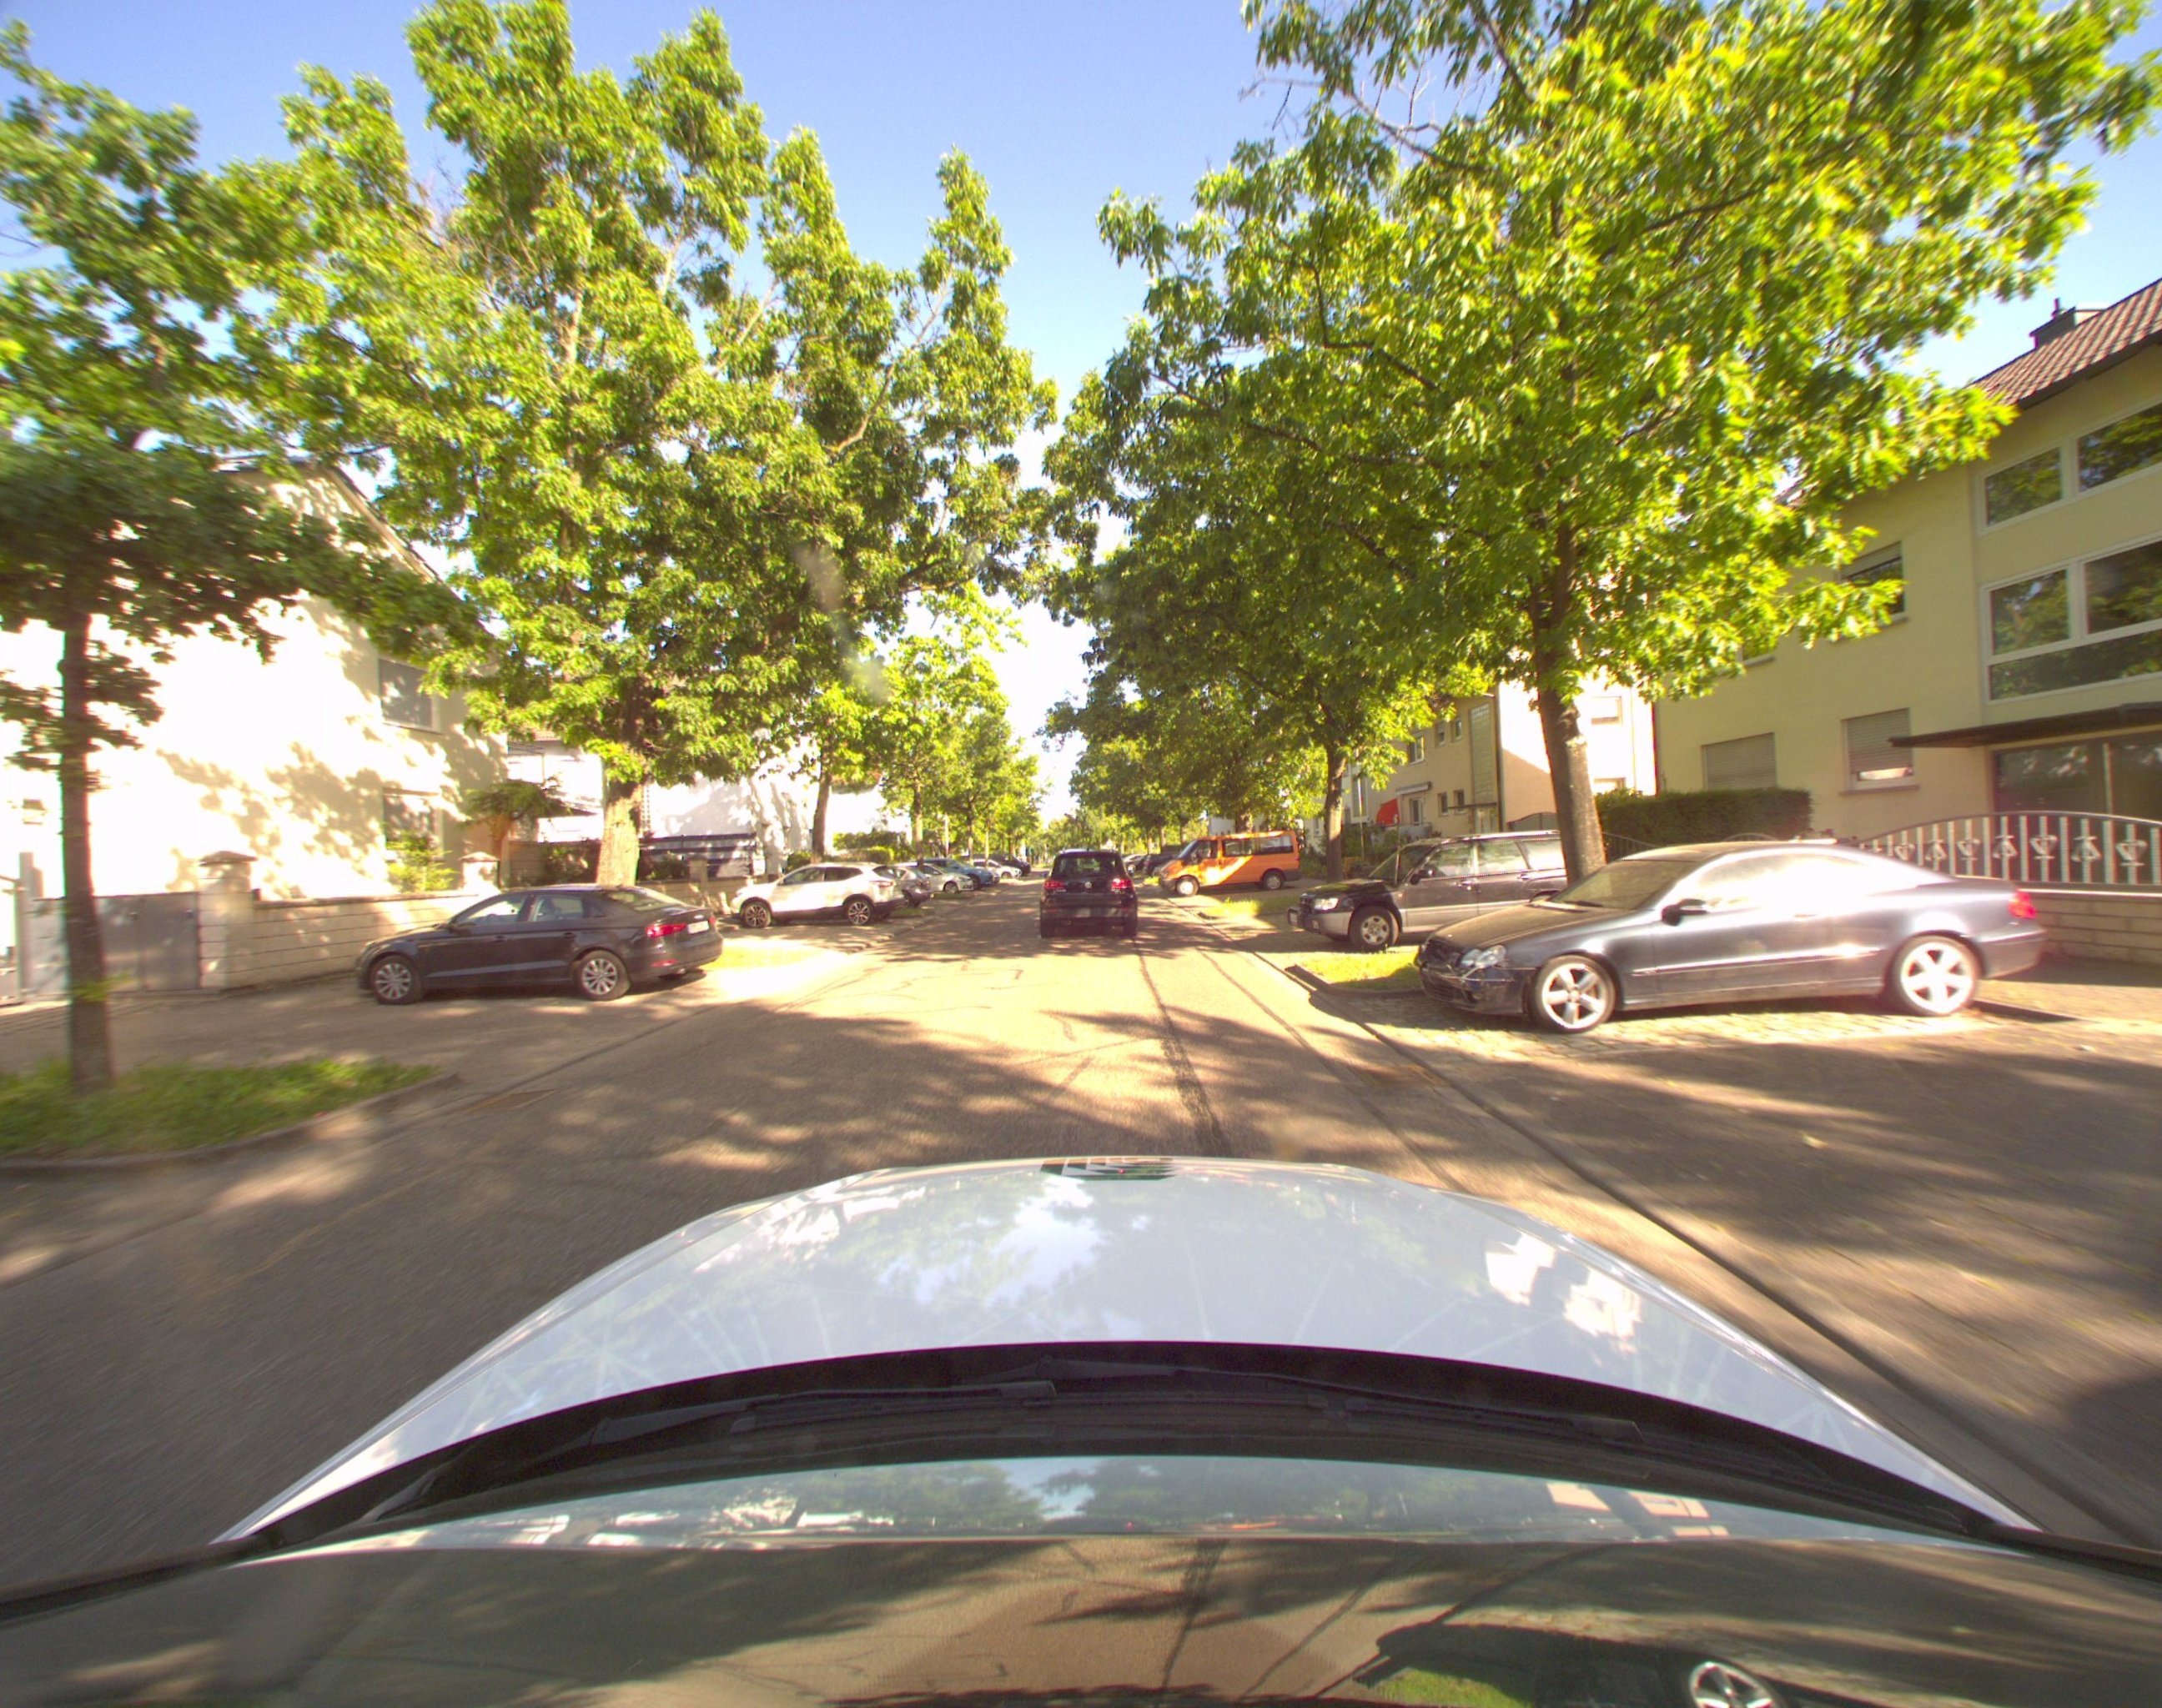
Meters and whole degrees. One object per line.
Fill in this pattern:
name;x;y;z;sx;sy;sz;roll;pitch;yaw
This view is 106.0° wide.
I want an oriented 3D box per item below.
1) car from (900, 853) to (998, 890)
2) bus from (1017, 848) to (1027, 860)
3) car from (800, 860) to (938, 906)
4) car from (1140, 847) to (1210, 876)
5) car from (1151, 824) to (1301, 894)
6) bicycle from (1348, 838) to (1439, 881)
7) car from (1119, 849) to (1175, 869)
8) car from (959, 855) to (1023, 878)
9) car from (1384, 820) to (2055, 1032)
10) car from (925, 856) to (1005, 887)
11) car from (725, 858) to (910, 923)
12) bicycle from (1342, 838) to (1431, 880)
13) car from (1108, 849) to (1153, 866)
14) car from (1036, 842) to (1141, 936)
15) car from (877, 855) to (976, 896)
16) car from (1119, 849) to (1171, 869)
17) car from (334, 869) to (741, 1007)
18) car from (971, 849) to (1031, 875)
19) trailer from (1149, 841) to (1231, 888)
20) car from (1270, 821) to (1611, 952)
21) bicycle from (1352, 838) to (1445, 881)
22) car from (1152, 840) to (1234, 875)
car;-6.580;0.877;40.938;4.509;1.631;1.937;-3;-1;0
bus;-17.271;0.022;239.145;2.923;3.004;5.727;-3;-1;-4
car;-6.822;0.913;26.560;4.022;1.423;1.809;0;0;-1
car;5.466;0.428;47.740;3.869;1.516;1.661;-3;0;0
car;4.963;0.177;28.491;4.802;2.083;2.086;-3;0;0
bicycle;10.624;0.191;27.713;2.848;1.237;0.468;-4;-1;1
car;5.327;0.387;66.345;4.333;1.363;1.873;-3;-1;-1
car;-6.313;0.883;57.455;4.262;1.478;1.768;-1;0;-1
car;5.192;0.566;7.122;4.409;1.331;1.692;-4;0;3
car;-6.492;0.967;45.690;4.168;1.492;1.647;-3;-1;0
car;-6.754;0.921;21.192;4.171;1.567;1.793;-1;0;2
bicycle;10.561;0.173;28.211;2.848;1.237;0.468;-4;0;1
car;4.979;0.384;82.800;4.414;1.491;1.796;-3;0;-1
car;0.231;0.635;16.530;1.830;1.636;3.960;-2;0;2
car;-6.841;0.953;36.435;3.973;1.595;1.857;-3;-1;0
car;5.390;0.425;69.098;4.263;1.414;1.796;-3;0;-1
car;-7.004;1.046;10.814;4.196;1.471;1.691;-3;0;0
car;-6.639;0.640;68.039;4.767;1.917;2.017;-3;0;-3
trailer;4.407;0.419;33.234;2.942;1.664;1.612;-4;-1;-6
car;5.293;0.457;12.425;4.324;1.560;1.867;-4;0;0
bicycle;10.606;0.183;27.226;2.848;1.237;0.468;-4;-1;1
car;5.761;0.190;42.237;3.975;1.623;1.756;-3;-1;-1
